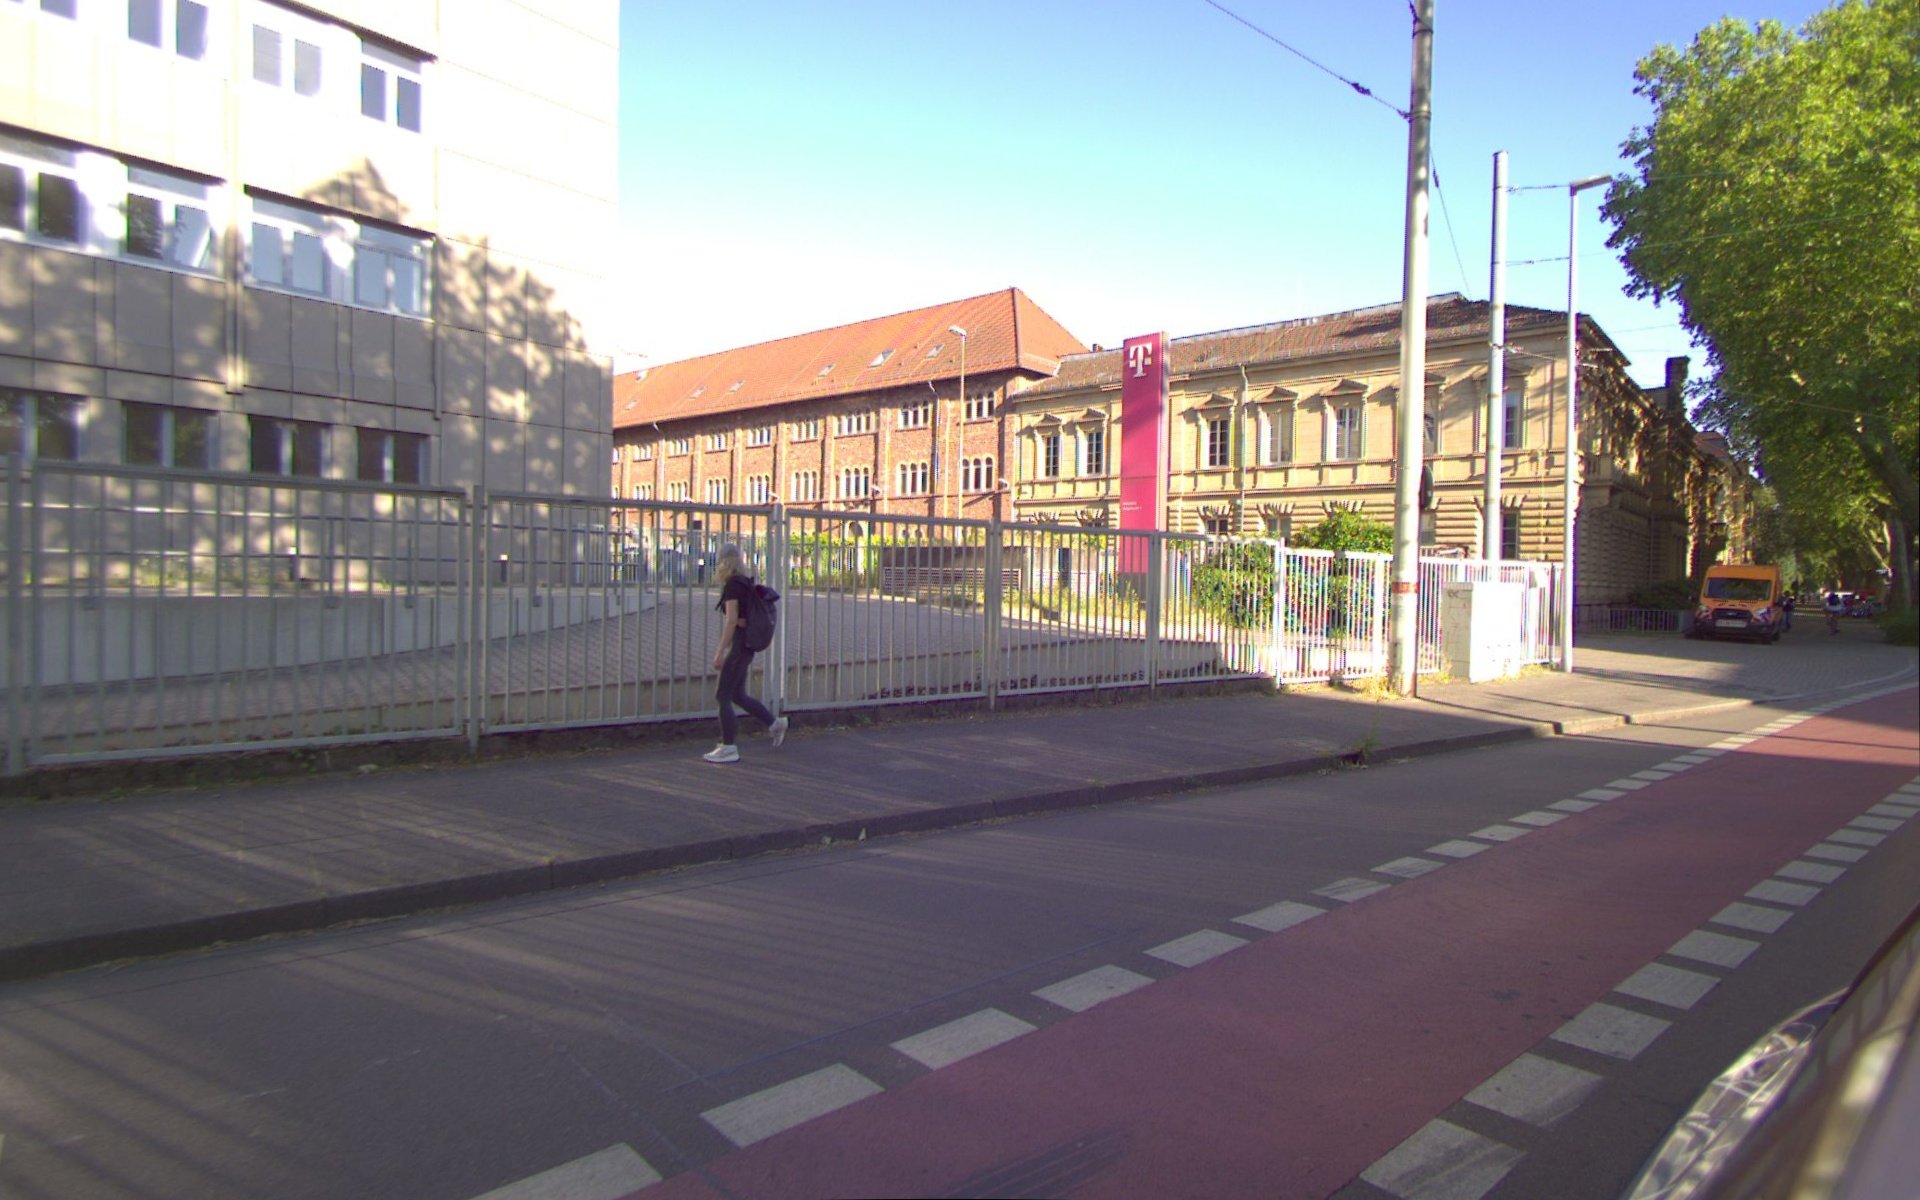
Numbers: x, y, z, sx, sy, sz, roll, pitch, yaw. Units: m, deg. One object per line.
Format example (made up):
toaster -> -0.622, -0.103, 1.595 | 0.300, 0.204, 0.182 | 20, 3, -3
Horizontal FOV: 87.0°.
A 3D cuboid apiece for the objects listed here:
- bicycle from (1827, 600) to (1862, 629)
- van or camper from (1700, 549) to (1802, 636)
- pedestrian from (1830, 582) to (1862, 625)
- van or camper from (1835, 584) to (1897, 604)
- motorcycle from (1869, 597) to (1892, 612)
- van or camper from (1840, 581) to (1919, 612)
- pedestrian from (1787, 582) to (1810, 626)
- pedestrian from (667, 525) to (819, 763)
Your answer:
bicycle -> 35.107, 0.569, 40.189 | 0.672, 1.044, 1.880 | 4, 4, 31
van or camper -> 25.731, -0.277, 32.830 | 2.036, 2.591, 5.683 | 3, 2, 43
pedestrian -> 34.980, 0.122, 39.960 | 0.667, 1.638, 1.090 | 4, 3, 32
van or camper -> 120.254, -0.853, 134.443 | 6.082, 2.461, 2.391 | 3, 2, 42
motorcycle -> 68.026, 0.354, 74.780 | 1.249, 1.067, 0.395 | 1, 1, 5
van or camper -> 81.750, -0.342, 89.355 | 5.906, 2.527, 2.190 | 3, 4, 40
pedestrian -> 34.146, 0.164, 41.212 | 0.650, 1.757, 0.992 | 2, 2, 42
pedestrian -> -1.677, 0.300, 7.805 | 0.913, 1.705, 0.698 | 0, 2, -38
